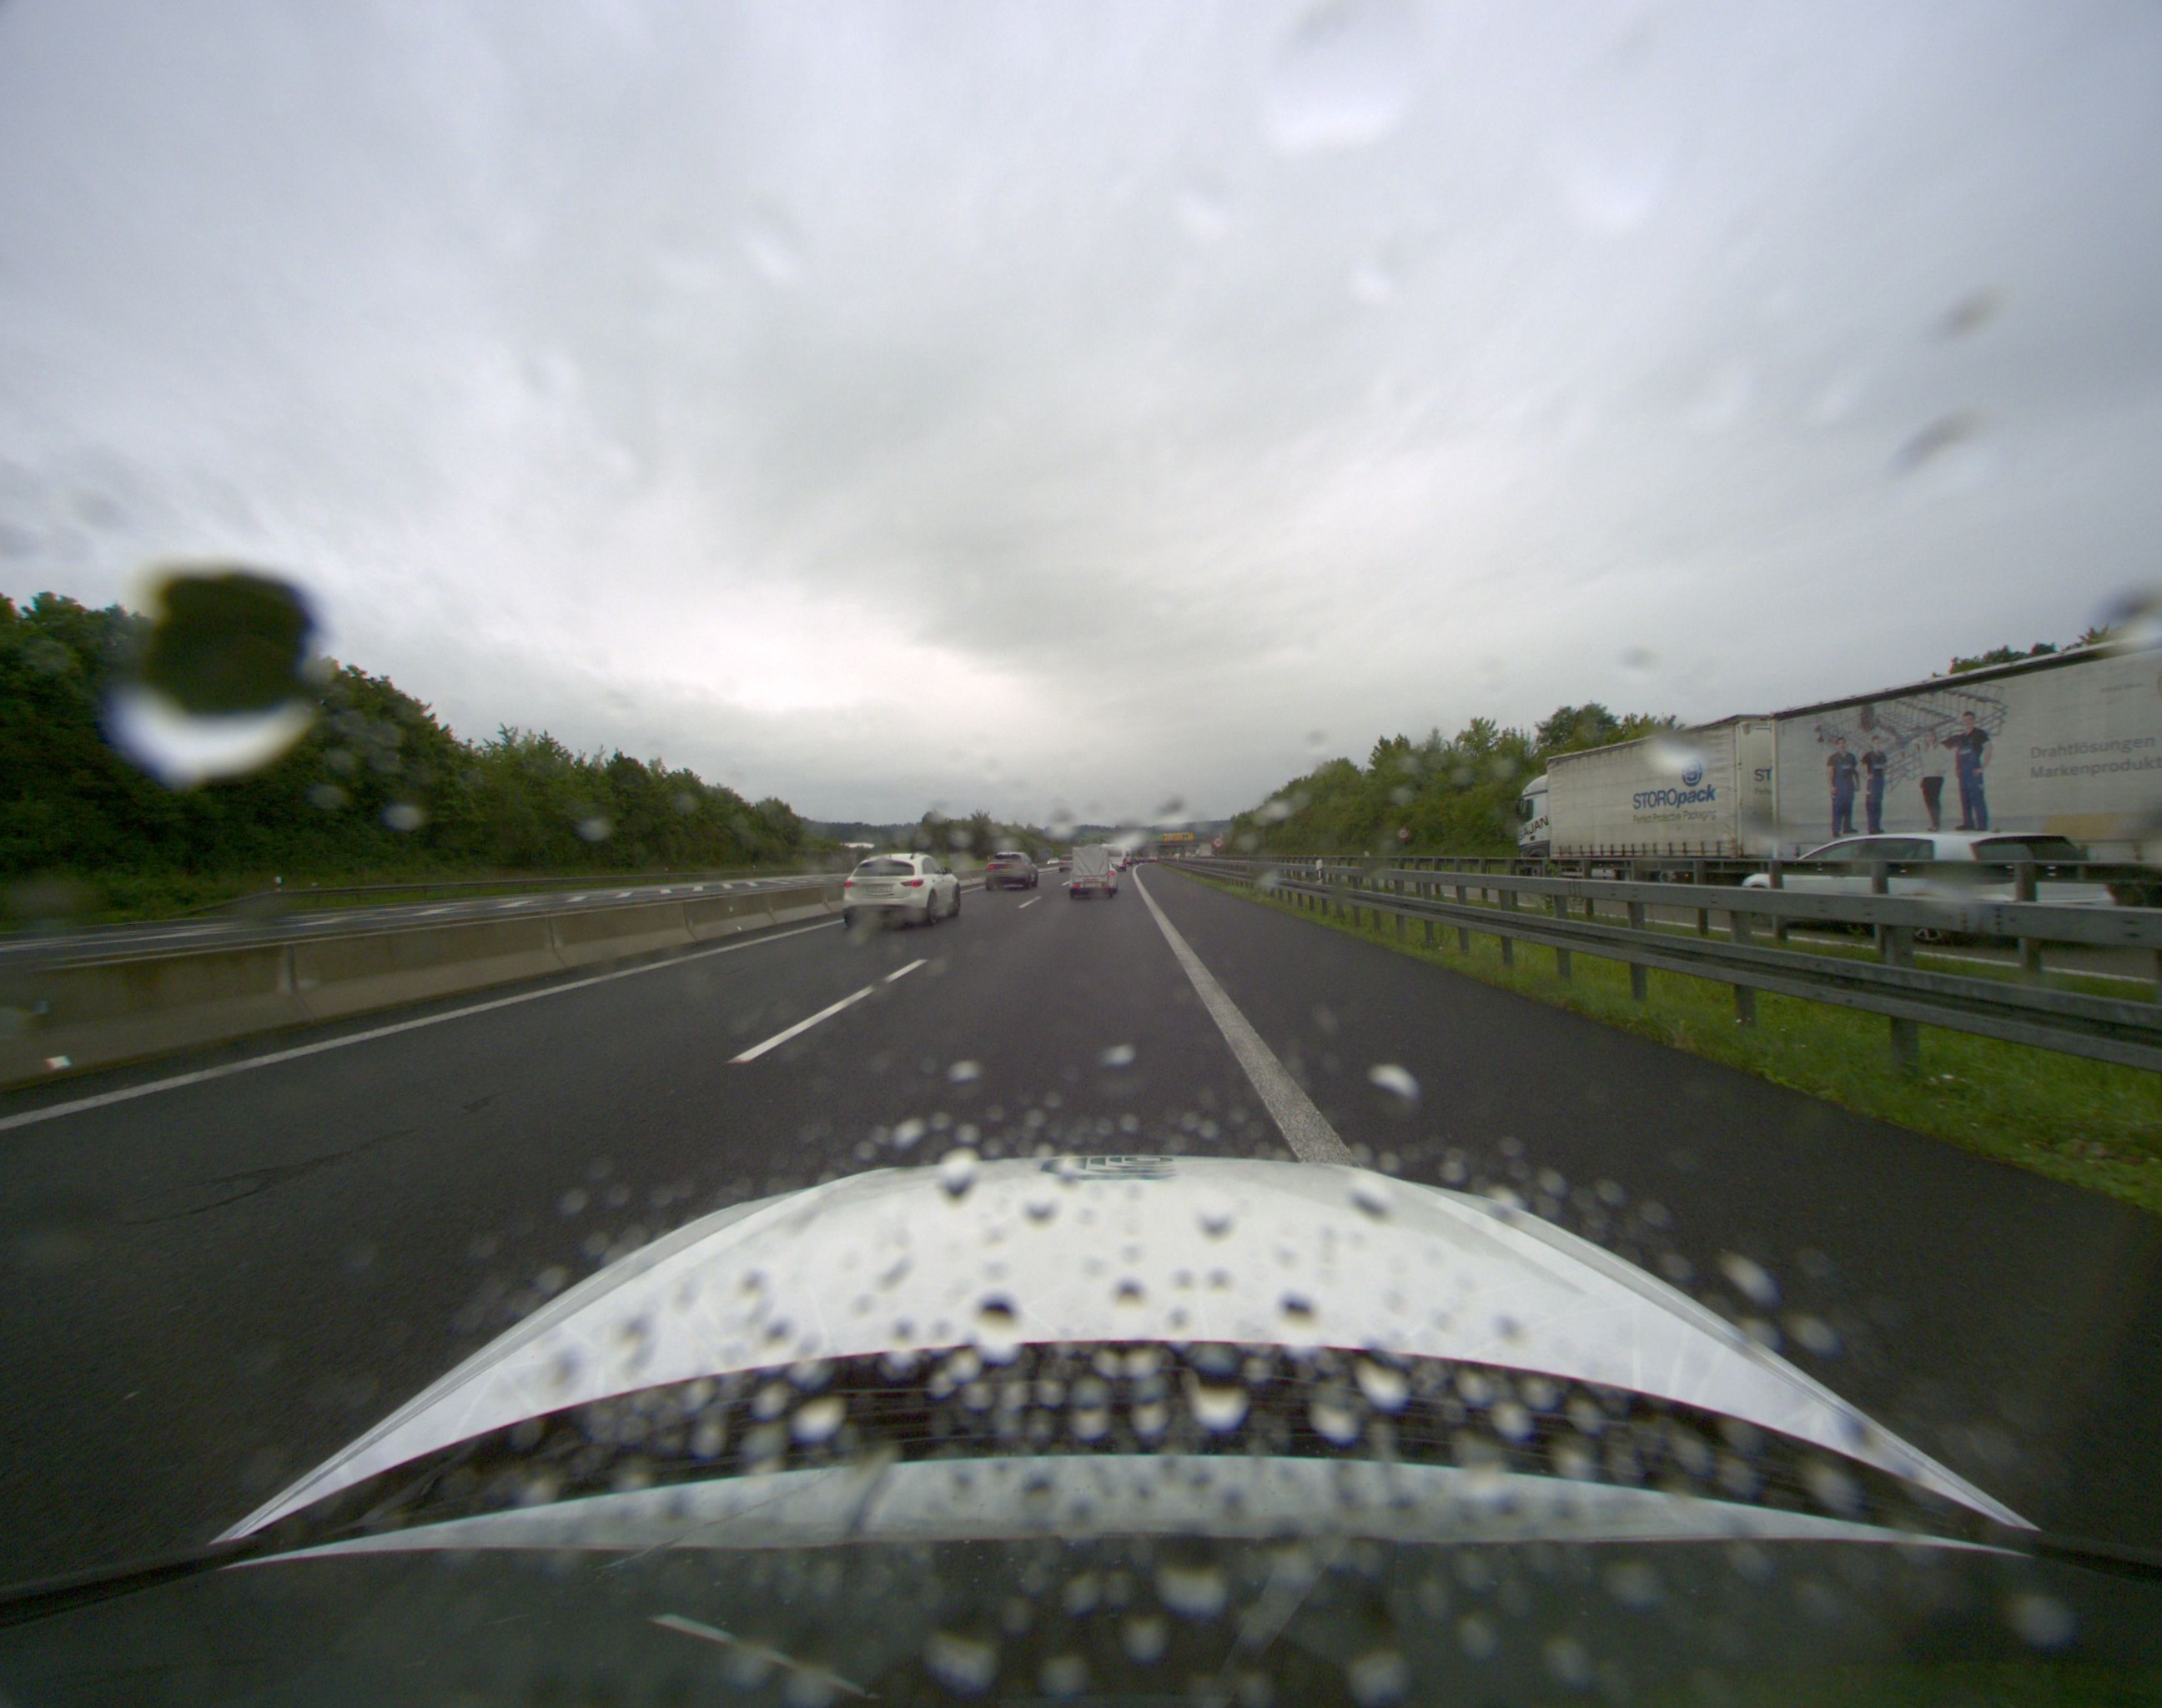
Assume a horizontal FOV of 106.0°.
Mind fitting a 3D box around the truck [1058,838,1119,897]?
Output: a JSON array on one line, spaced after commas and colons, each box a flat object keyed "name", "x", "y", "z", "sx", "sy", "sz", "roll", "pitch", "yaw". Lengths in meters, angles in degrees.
[{"name": "truck", "x": 0.437, "y": 0.464, "z": 31.610, "sx": 2.010, "sy": 1.985, "sz": 7.218, "roll": -1, "pitch": 0, "yaw": 3}]

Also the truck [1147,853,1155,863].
[{"name": "truck", "x": 22.223, "y": 1.131, "z": 257.090, "sx": 2.266, "sy": 3.082, "sz": 7.258, "roll": -1, "pitch": 0, "yaw": 6}]

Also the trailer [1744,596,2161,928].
[{"name": "trailer", "x": 15.759, "y": -1.227, "z": 12.150, "sx": 3.424, "sy": 4.289, "sz": 10.459, "roll": -1, "pitch": 0, "yaw": 2}]

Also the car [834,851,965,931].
[{"name": "car", "x": -4.146, "y": 0.787, "z": 19.407, "sx": 1.969, "sy": 1.639, "sz": 4.501, "roll": -1, "pitch": 0, "yaw": 1}]

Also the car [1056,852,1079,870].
[{"name": "car", "x": -1.228, "y": 0.615, "z": 77.876, "sx": 1.893, "sy": 1.613, "sz": 4.020, "roll": -1, "pitch": 0, "yaw": 3}]

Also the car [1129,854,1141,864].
[{"name": "car", "x": 9.534, "y": 0.814, "z": 143.843, "sx": 1.986, "sy": 1.750, "sz": 4.001, "roll": 0, "pitch": 0, "yaw": 1}]

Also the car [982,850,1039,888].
[{"name": "car", "x": -3.246, "y": 0.659, "z": 38.350, "sx": 2.166, "sy": 1.631, "sz": 4.501, "roll": -1, "pitch": 0, "yaw": 1}]

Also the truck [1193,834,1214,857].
[{"name": "truck", "x": 28.094, "y": -1.860, "z": 186.943, "sx": 4.074, "sy": 5.103, "sz": 10.478, "roll": -1, "pitch": 0, "yaw": 5}]

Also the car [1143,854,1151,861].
[{"name": "car", "x": 18.874, "y": 1.027, "z": 233.153, "sx": 1.983, "sy": 1.750, "sz": 4.007, "roll": -1, "pitch": 0, "yaw": 6}]

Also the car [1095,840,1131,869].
[{"name": "car", "x": 3.132, "y": 0.004, "z": 78.072, "sx": 3.002, "sy": 2.616, "sz": 6.084, "roll": -2, "pitch": 0, "yaw": 6}]

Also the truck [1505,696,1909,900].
[{"name": "truck", "x": 16.123, "y": -1.213, "z": 22.668, "sx": 3.424, "sy": 4.289, "sz": 10.423, "roll": -1, "pitch": 0, "yaw": 2}]

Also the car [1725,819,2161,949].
[{"name": "car", "x": 11.612, "y": 0.349, "z": 11.456, "sx": 1.853, "sy": 1.447, "sz": 4.159, "roll": -1, "pitch": 0, "yaw": 1}]

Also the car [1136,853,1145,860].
[{"name": "car", "x": 14.552, "y": 0.653, "z": 198.528, "sx": 1.984, "sy": 1.750, "sz": 4.006, "roll": 0, "pitch": 0, "yaw": 5}]

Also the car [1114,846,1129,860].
[{"name": "car", "x": 6.040, "y": -0.091, "z": 121.695, "sx": 1.986, "sy": 2.036, "sz": 4.153, "roll": 0, "pitch": 0, "yaw": 1}]
